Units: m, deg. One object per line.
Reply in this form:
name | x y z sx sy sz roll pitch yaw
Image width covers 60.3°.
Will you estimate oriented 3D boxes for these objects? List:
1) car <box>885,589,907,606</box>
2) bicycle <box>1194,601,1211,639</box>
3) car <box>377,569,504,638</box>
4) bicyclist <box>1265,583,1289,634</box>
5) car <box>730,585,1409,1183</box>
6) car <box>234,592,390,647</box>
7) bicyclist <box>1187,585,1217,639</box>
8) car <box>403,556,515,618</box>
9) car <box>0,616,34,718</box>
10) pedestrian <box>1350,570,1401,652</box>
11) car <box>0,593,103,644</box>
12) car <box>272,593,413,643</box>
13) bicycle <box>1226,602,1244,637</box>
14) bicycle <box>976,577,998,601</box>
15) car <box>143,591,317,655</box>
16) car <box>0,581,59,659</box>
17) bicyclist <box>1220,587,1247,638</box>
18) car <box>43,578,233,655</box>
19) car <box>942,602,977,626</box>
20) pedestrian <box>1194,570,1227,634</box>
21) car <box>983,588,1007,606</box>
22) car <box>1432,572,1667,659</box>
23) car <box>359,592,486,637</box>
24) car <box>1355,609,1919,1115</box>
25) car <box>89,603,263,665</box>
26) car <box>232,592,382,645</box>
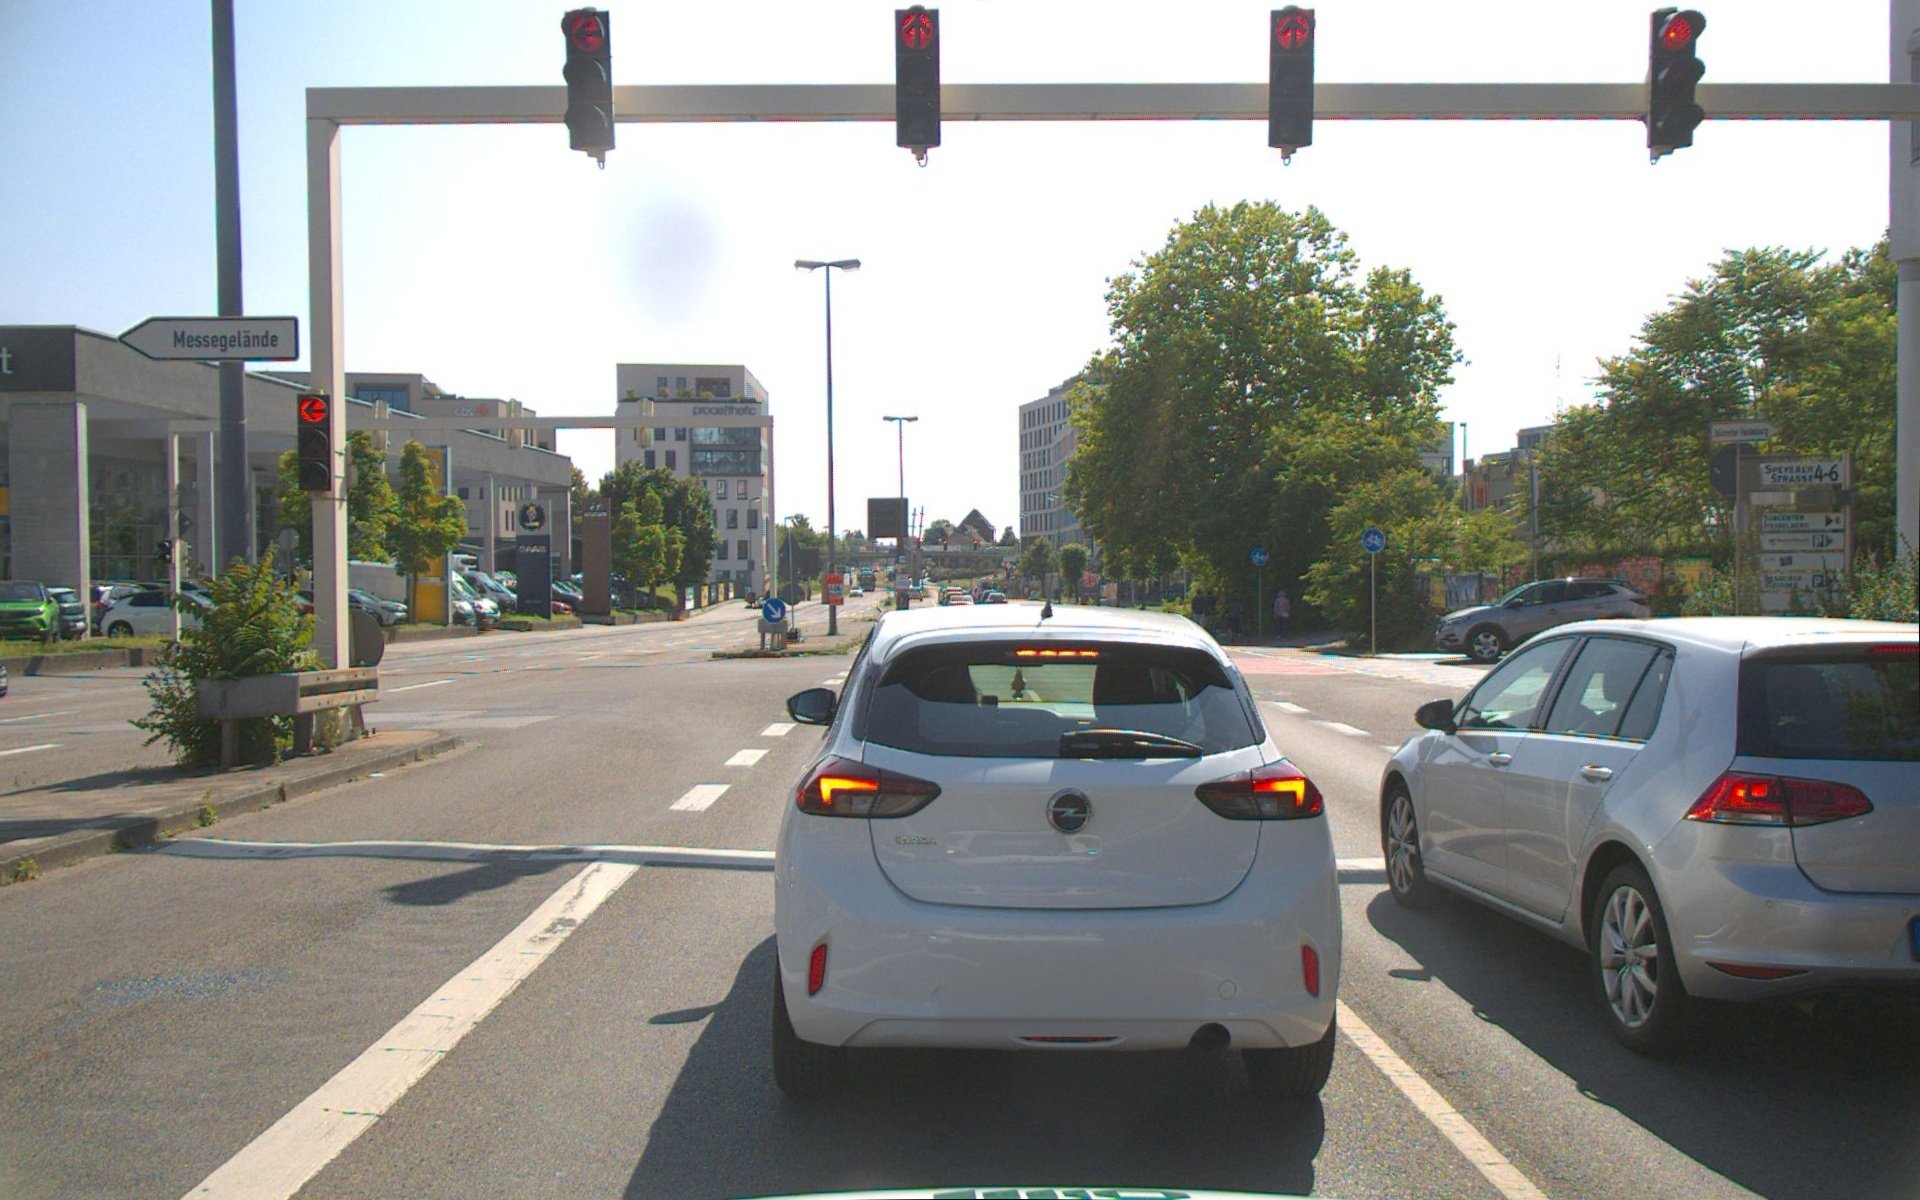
car | -5.503 -0.201 142.369 1.769 1.410 3.999 1 -1 -1
bicycle | 8.184 0.669 55.859 0.365 1.238 1.153 1 0 -1
car | -21.139 0.140 67.409 4.401 2.731 2.130 0 0 8
bicyclist | 10.615 0.286 55.409 0.639 1.666 0.659 1 -1 -1
car | 0.252 0.721 6.270 1.743 1.520 3.999 -1 0 -1
car | -21.018 0.615 53.765 4.270 1.726 1.999 0 0 -3
bicyclist | 8.156 0.407 55.862 0.861 1.803 0.863 0 0 -1
car | -21.985 -0.581 72.709 4.265 2.646 2.001 0 0 4
car | -16.218 0.973 24.127 4.277 1.472 1.995 0 0 -10
pedestrian | 10.470 0.271 41.699 1.006 2.049 1.038 0 0 -1
car | -26.264 0.533 45.525 4.276 1.290 1.996 -2 -1 -9
car | -22.064 0.629 59.225 4.270 1.726 1.999 -1 0 -4
bicycle | 9.168 0.654 55.132 0.366 1.167 1.034 1 -1 -3
bicycle | 2.544 -1.037 155.580 1.953 2.195 3.999 0 0 -1
car | -21.388 0.652 48.623 4.211 1.796 1.999 -1 0 -4
car | -22.560 0.492 38.946 1.887 1.764 3.250 -1 -1 -37
bicyclist | 9.126 0.420 55.145 0.675 1.672 0.775 0 0 -9
car | -20.730 0.401 41.841 3.793 1.870 1.999 -1 0 -4
car | -0.047 0.823 97.225 1.953 1.355 3.999 1 -1 -1
pedestrian | 9.081 0.079 59.883 1.006 2.278 1.038 0 0 -1
car | 2.833 -0.237 135.305 1.769 1.410 3.999 1 -1 -1
car | 12.347 0.323 34.931 4.325 1.578 2.002 -3 0 10
car | -21.068 0.557 64.961 4.265 1.726 2.001 -1 0 4
car | 3.100 0.777 6.881 1.771 1.454 3.997 0 0 -3
car | -21.698 0.930 45.903 3.912 1.627 1.997 -1 0 -8
car | -22.059 0.607 55.978 4.270 1.726 1.999 -1 0 -4
